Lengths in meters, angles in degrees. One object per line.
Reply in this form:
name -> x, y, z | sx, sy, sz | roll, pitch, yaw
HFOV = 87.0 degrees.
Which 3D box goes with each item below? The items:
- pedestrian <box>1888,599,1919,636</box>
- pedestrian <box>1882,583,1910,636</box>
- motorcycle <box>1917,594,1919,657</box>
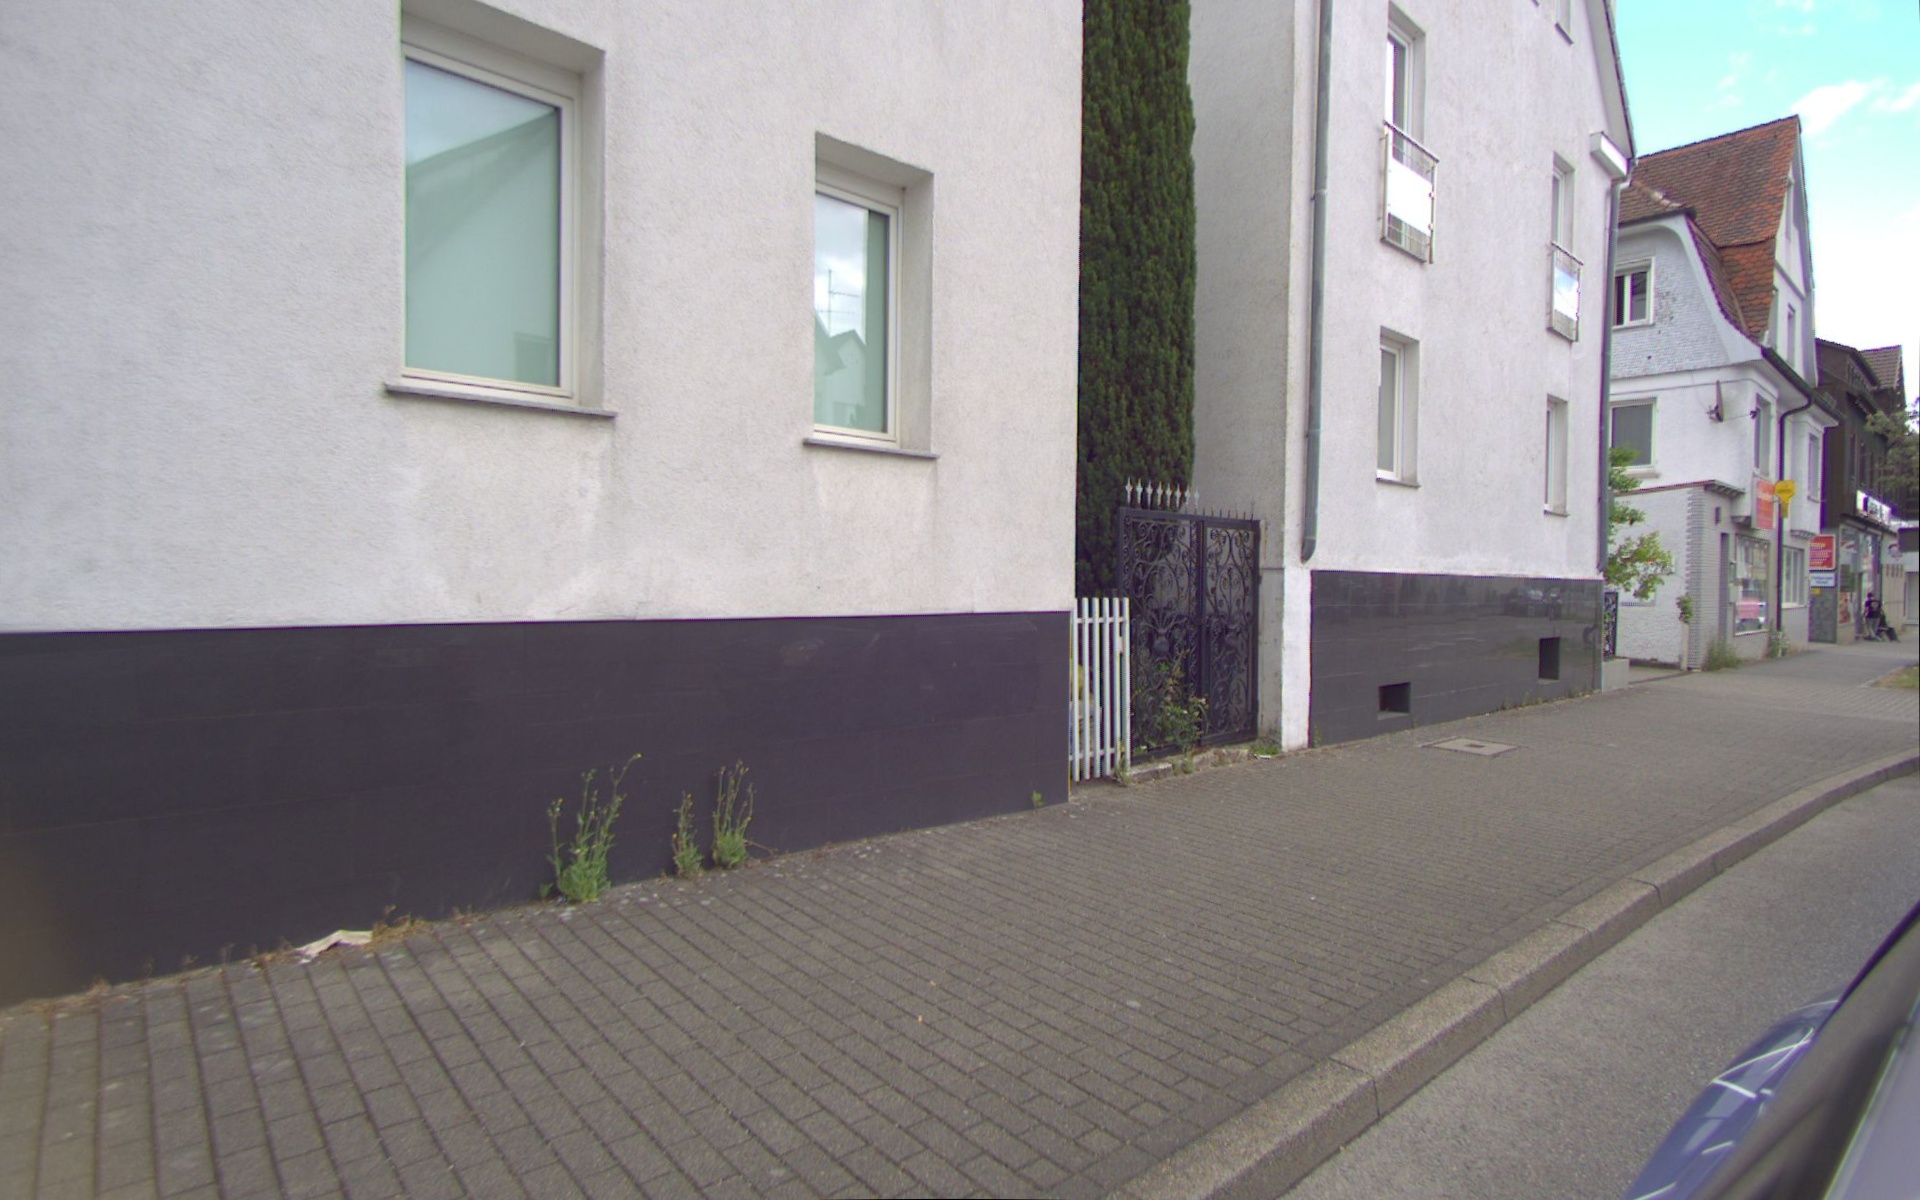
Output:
pedestrian -> 32.736, 0.607, 35.086 | 0.633, 1.226, 0.741 | 0, 2, -42
pedestrian -> 32.055, 0.313, 34.667 | 0.642, 1.762, 0.731 | 3, 2, 43
motorcycle -> 21.655, 0.589, 21.559 | 0.763, 1.399, 2.236 | 0, 0, 11
